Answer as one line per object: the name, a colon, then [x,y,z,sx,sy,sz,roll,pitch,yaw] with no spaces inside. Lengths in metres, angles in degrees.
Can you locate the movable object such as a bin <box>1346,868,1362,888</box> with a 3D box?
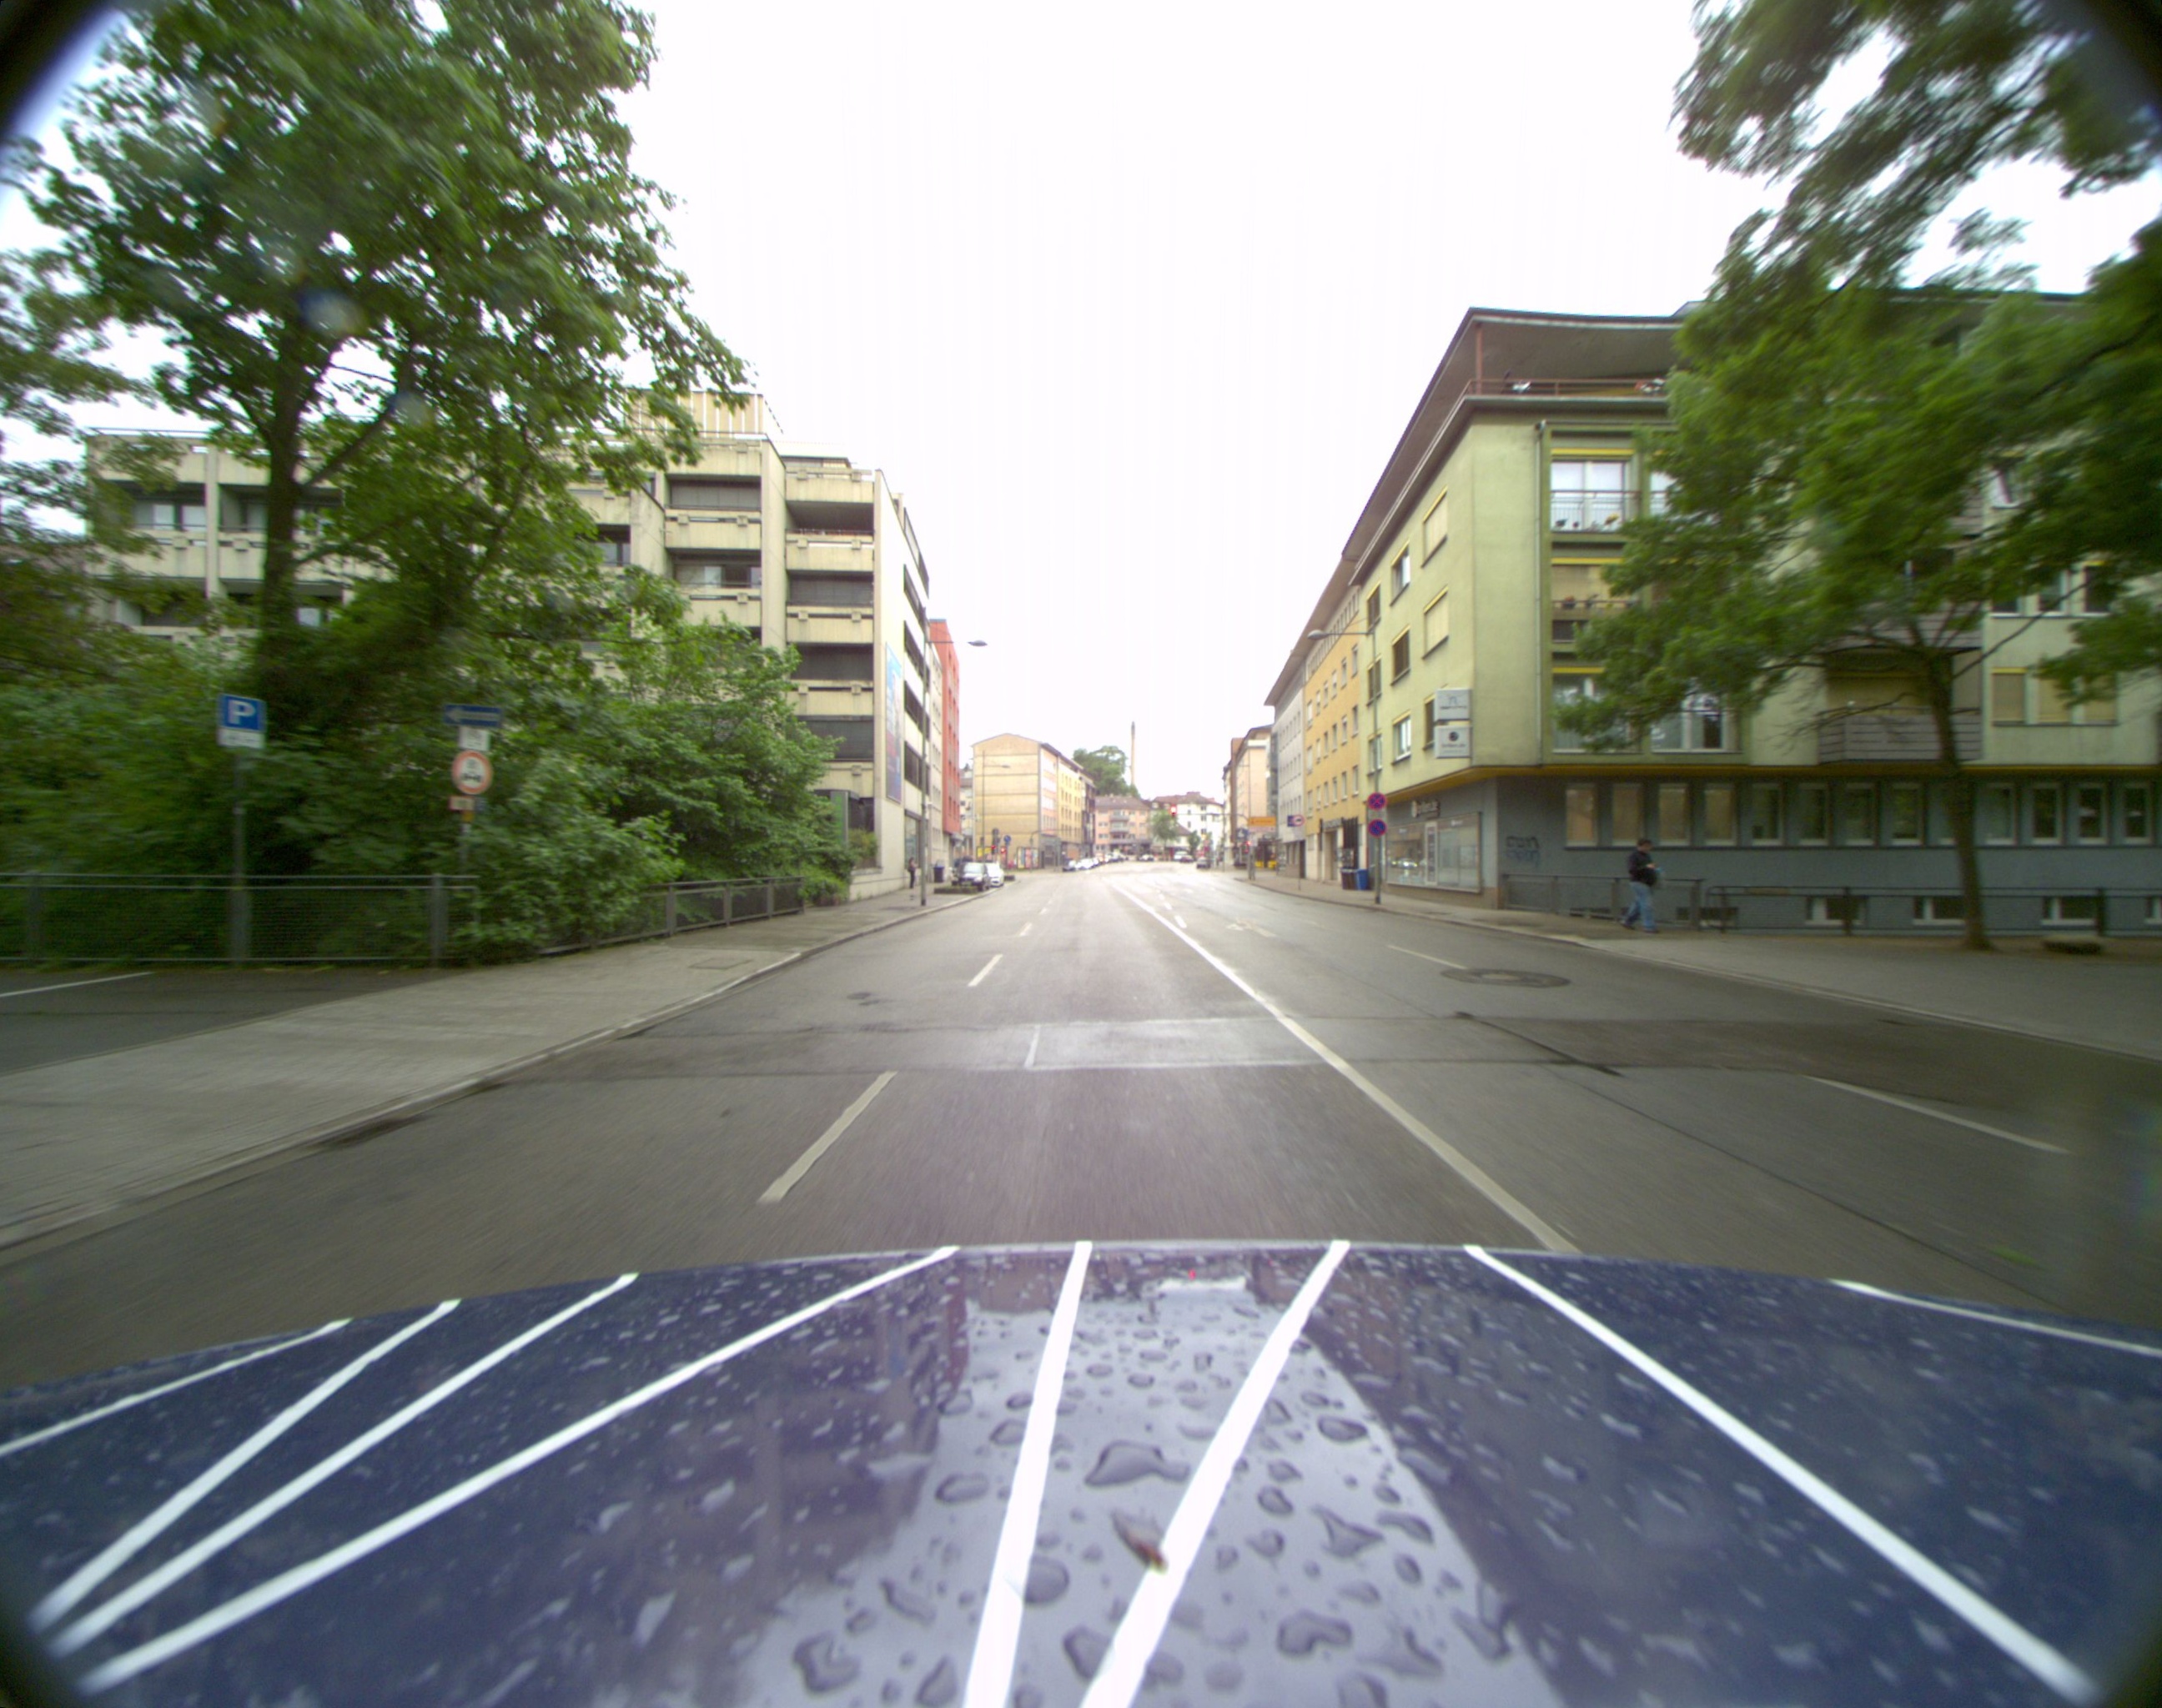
movable object such as a bin: [12.569,1.110,34.993,0.529,0.890,0.435,-4,0,7]

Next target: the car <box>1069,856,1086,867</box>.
car: [-0.458,1.021,98.882,1.736,1.389,3.744,0,0,8]

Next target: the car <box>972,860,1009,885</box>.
car: [-5.460,1.117,46.463,1.835,1.412,4.569,1,0,-1]

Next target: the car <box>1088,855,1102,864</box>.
car: [2.258,0.850,119.553,1.736,1.389,3.743,0,0,8]

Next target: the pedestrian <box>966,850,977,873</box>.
pedestrian: [-9.979,0.688,69.184,0.806,2.140,0.737,-1,1,-23]

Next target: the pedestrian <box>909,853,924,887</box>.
pedestrian: [-8.301,0.807,38.318,0.599,1.650,0.691,3,0,-7]

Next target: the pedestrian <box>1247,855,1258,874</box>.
pedestrian: [15.073,0.922,66.727,0.785,1.578,0.674,-3,0,21]

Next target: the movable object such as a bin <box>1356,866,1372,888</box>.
movable object such as a bin: [12.802,1.046,34.385,0.529,0.955,0.435,-4,0,7]

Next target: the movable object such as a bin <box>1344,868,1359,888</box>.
movable object such as a bin: [12.614,1.118,35.458,0.529,0.922,0.426,-4,0,7]

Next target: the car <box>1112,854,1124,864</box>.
car: [7.034,0.894,143.077,1.670,1.761,4.003,0,0,11]

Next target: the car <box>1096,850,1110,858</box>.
car: [3.791,-0.003,129.413,1.736,1.389,3.744,0,0,10]

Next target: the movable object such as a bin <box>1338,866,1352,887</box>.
movable object such as a bin: [12.738,1.088,36.667,0.517,0.994,0.524,-4,0,7]

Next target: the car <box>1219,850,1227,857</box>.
car: [32.550,-0.038,174.478,1.591,1.518,3.491,0,0,14]

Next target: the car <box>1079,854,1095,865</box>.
car: [0.836,0.767,106.813,1.736,1.389,3.744,0,0,8]

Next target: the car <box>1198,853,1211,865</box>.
car: [17.496,0.664,107.427,1.834,1.612,4.003,0,0,10]

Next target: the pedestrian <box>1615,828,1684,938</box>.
pedestrian: [10.677,0.536,14.283,0.752,2.002,0.782,0,1,7]

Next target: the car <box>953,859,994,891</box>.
car: [-5.570,1.068,39.711,1.706,1.549,3.804,1,0,-1]

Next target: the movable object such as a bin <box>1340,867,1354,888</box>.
movable object such as a bin: [12.622,1.121,36.069,0.465,0.922,0.428,-4,0,7]

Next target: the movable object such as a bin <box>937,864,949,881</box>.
movable object such as a bin: [-8.880,1.176,48.792,0.681,1.097,0.514,0,0,-2]

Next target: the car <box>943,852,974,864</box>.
car: [-17.304,0.531,107.244,3.783,1.701,1.842,0,0,19]

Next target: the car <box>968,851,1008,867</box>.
car: [-10.141,0.530,83.295,3.994,1.674,1.881,0,0,9]

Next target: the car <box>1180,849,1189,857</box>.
car: [20.310,-0.255,149.100,1.748,1.586,4.002,0,0,7]
